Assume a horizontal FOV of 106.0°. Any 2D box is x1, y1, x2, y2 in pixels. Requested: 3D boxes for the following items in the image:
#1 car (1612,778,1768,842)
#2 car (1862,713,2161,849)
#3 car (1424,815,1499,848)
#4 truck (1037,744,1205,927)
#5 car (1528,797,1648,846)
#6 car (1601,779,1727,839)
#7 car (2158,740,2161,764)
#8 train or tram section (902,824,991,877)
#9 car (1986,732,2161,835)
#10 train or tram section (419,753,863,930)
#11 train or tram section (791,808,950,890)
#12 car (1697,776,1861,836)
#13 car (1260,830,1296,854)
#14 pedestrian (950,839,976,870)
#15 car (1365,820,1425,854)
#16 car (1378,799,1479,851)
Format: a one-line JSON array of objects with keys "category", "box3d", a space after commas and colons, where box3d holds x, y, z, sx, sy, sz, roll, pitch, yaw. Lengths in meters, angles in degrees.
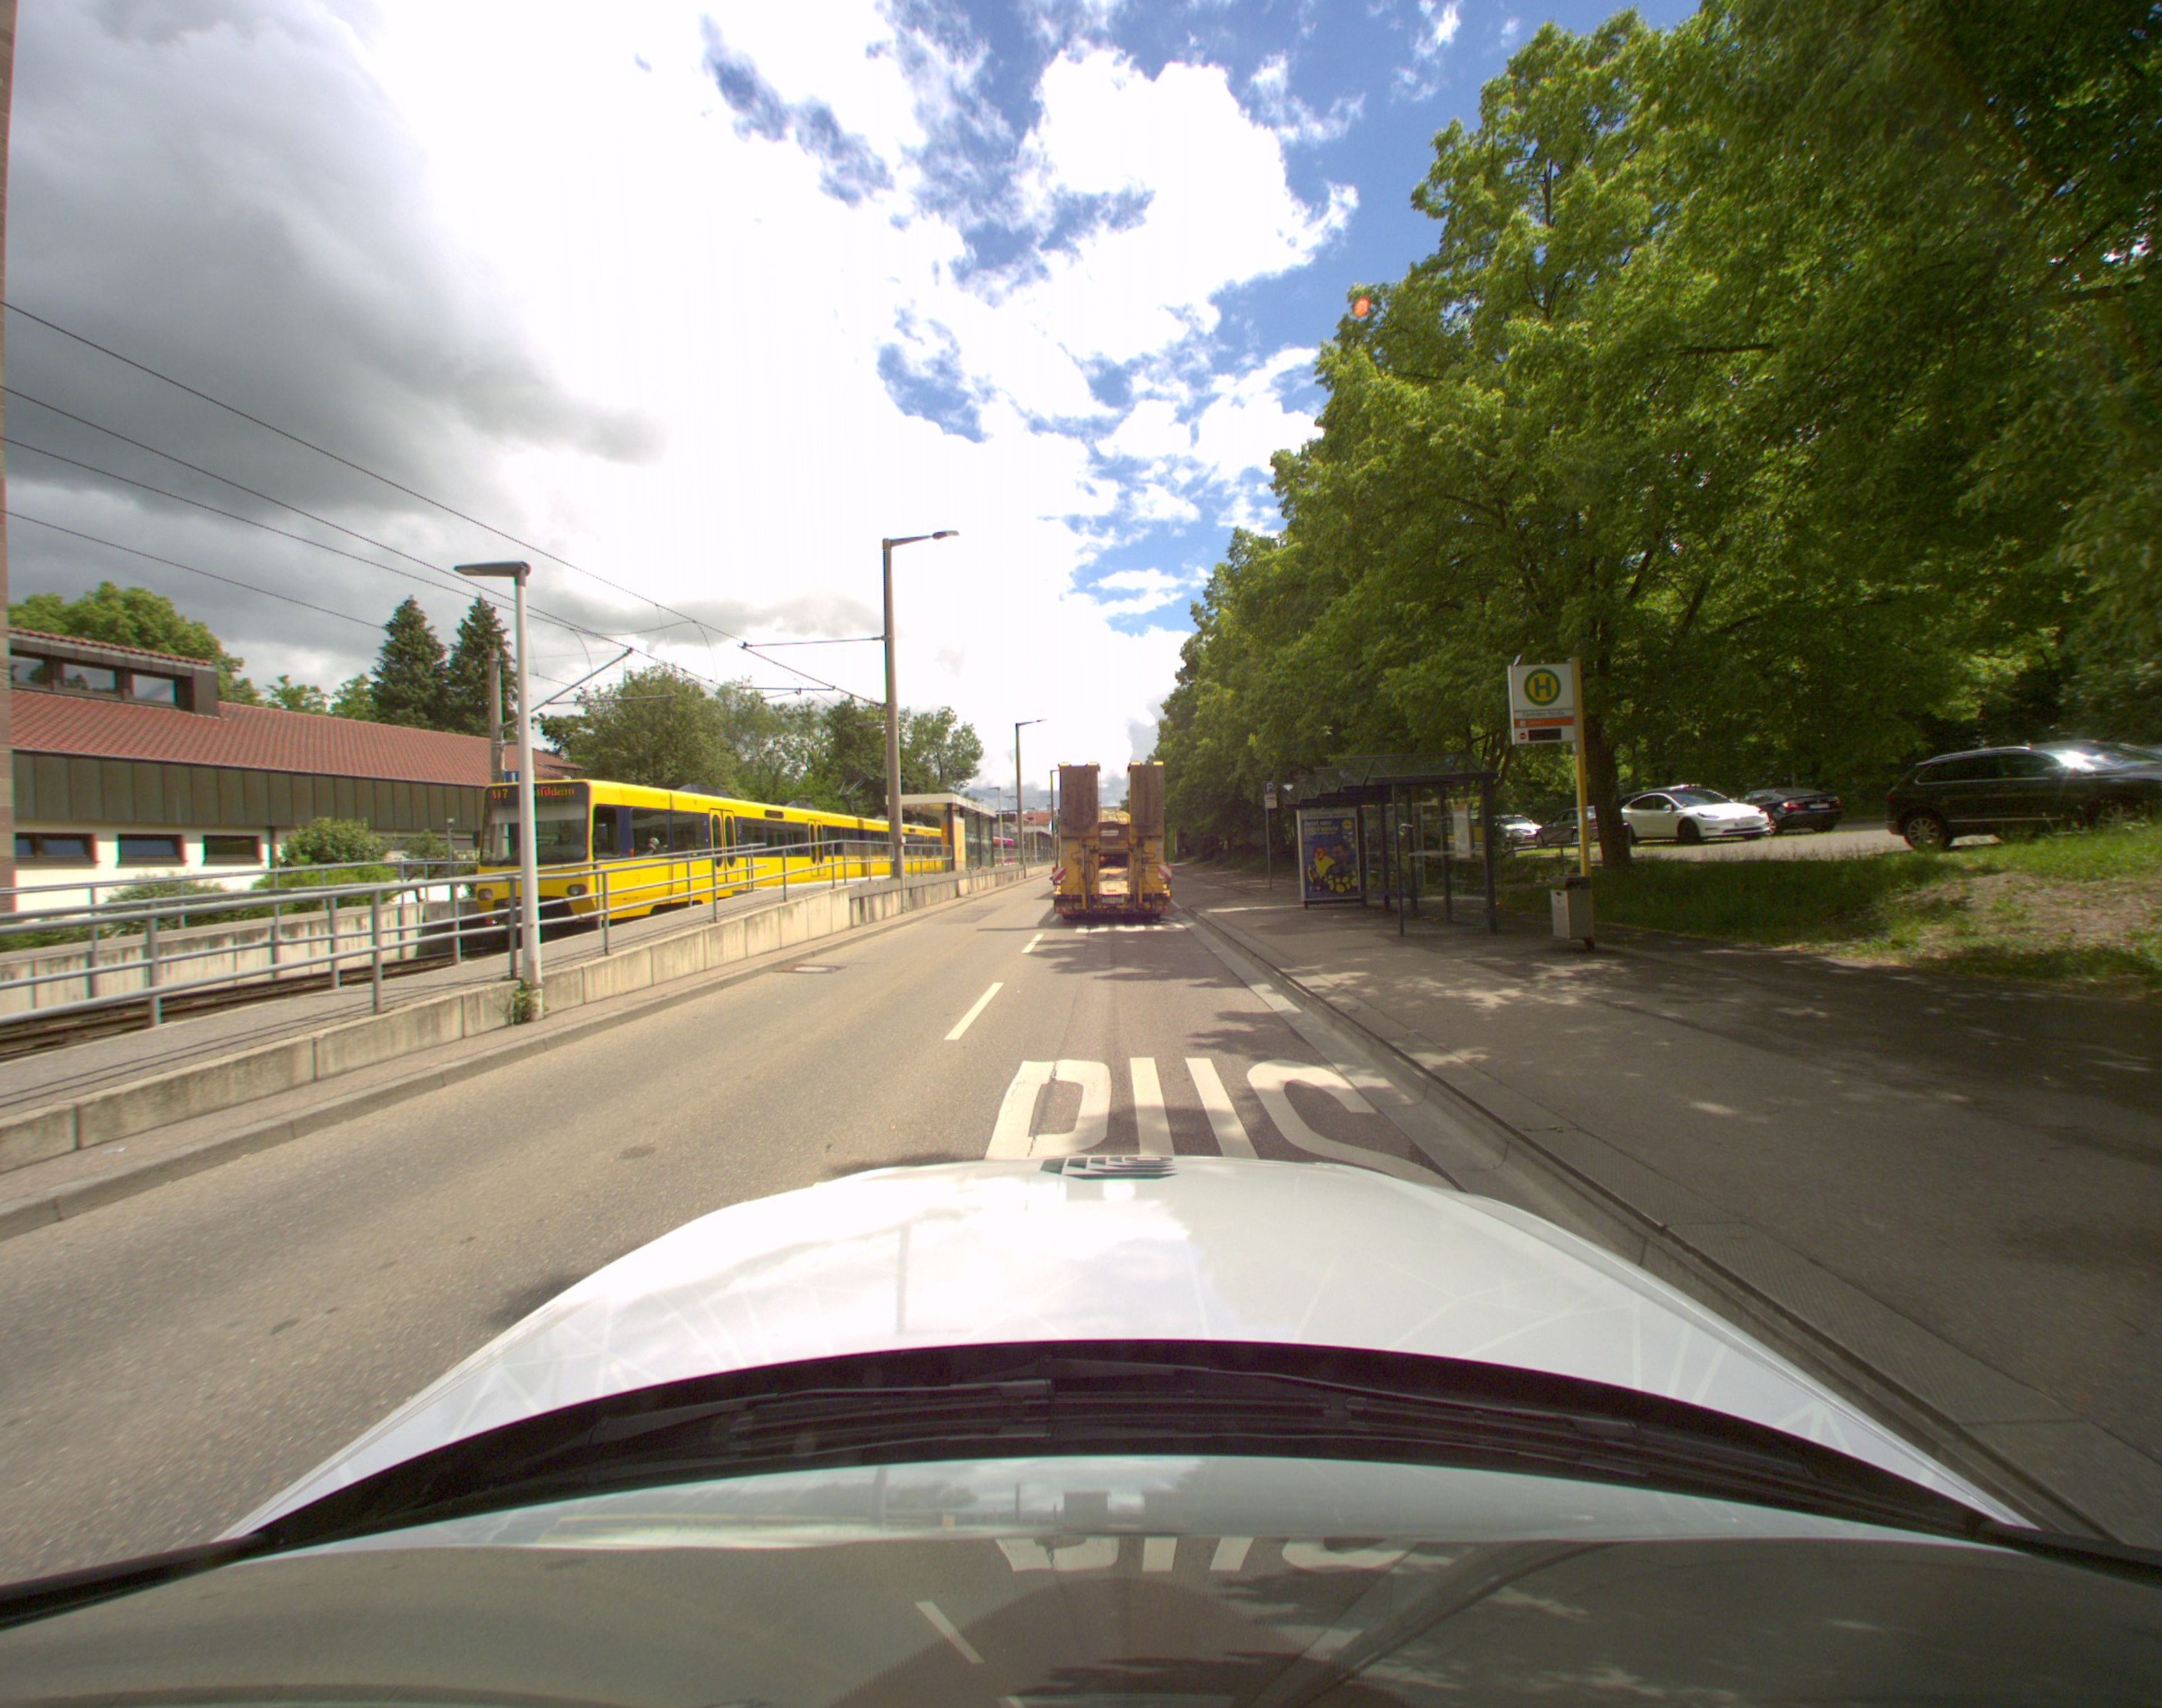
[{"category": "car", "box3d": [17.948, -1.221, 24.289, 1.463, 1.555, 4.437, -6, 0, 4]}, {"category": "car", "box3d": [15.581, -1.091, 13.164, 1.682, 1.694, 4.262, -6, -2, 1]}, {"category": "car", "box3d": [18.933, -1.078, 40.734, 1.834, 1.420, 4.126, -5, 0, 2]}, {"category": "truck", "box3d": [0.807, -0.376, 24.028, 3.392, 3.732, 13.734, -2, 0, 0]}, {"category": "car", "box3d": [18.103, -1.102, 29.336, 1.607, 1.442, 4.355, -5, 0, 2]}, {"category": "car", "box3d": [21.241, -1.579, 29.904, 1.607, 1.790, 4.210, -6, 0, 2]}, {"category": "car", "box3d": [20.197, -1.530, 13.258, 1.403, 1.303, 2.860, -6, -2, 1]}, {"category": "train or tram section", "box3d": [-9.957, -0.211, 63.484, 3.096, 3.465, 19.206, -1, 0, 2]}, {"category": "car", "box3d": [17.832, -1.242, 13.338, 1.682, 1.492, 3.794, -6, -2, 1]}, {"category": "train or tram section", "box3d": [-11.220, -0.225, 25.486, 3.096, 3.465, 18.833, -1, 0, 2]}, {"category": "train or tram section", "box3d": [-10.563, -0.211, 44.413, 3.096, 3.465, 19.004, -1, 0, 2]}, {"category": "car", "box3d": [20.916, -1.382, 24.658, 1.674, 1.453, 4.005, -4, 0, 4]}, {"category": "car", "box3d": [14.495, -0.839, 60.190, 1.708, 1.507, 4.163, -5, -1, 3]}, {"category": "pedestrian", "box3d": [-4.680, 0.024, 32.399, 0.793, 1.186, 0.920, -4, 0, 0]}, {"category": "car", "box3d": [15.816, -0.809, 41.231, 1.685, 1.508, 3.625, -6, 0, 3]}, {"category": "car", "box3d": [12.708, -1.004, 30.110, 1.839, 1.662, 4.726, -2, 0, 2]}]
